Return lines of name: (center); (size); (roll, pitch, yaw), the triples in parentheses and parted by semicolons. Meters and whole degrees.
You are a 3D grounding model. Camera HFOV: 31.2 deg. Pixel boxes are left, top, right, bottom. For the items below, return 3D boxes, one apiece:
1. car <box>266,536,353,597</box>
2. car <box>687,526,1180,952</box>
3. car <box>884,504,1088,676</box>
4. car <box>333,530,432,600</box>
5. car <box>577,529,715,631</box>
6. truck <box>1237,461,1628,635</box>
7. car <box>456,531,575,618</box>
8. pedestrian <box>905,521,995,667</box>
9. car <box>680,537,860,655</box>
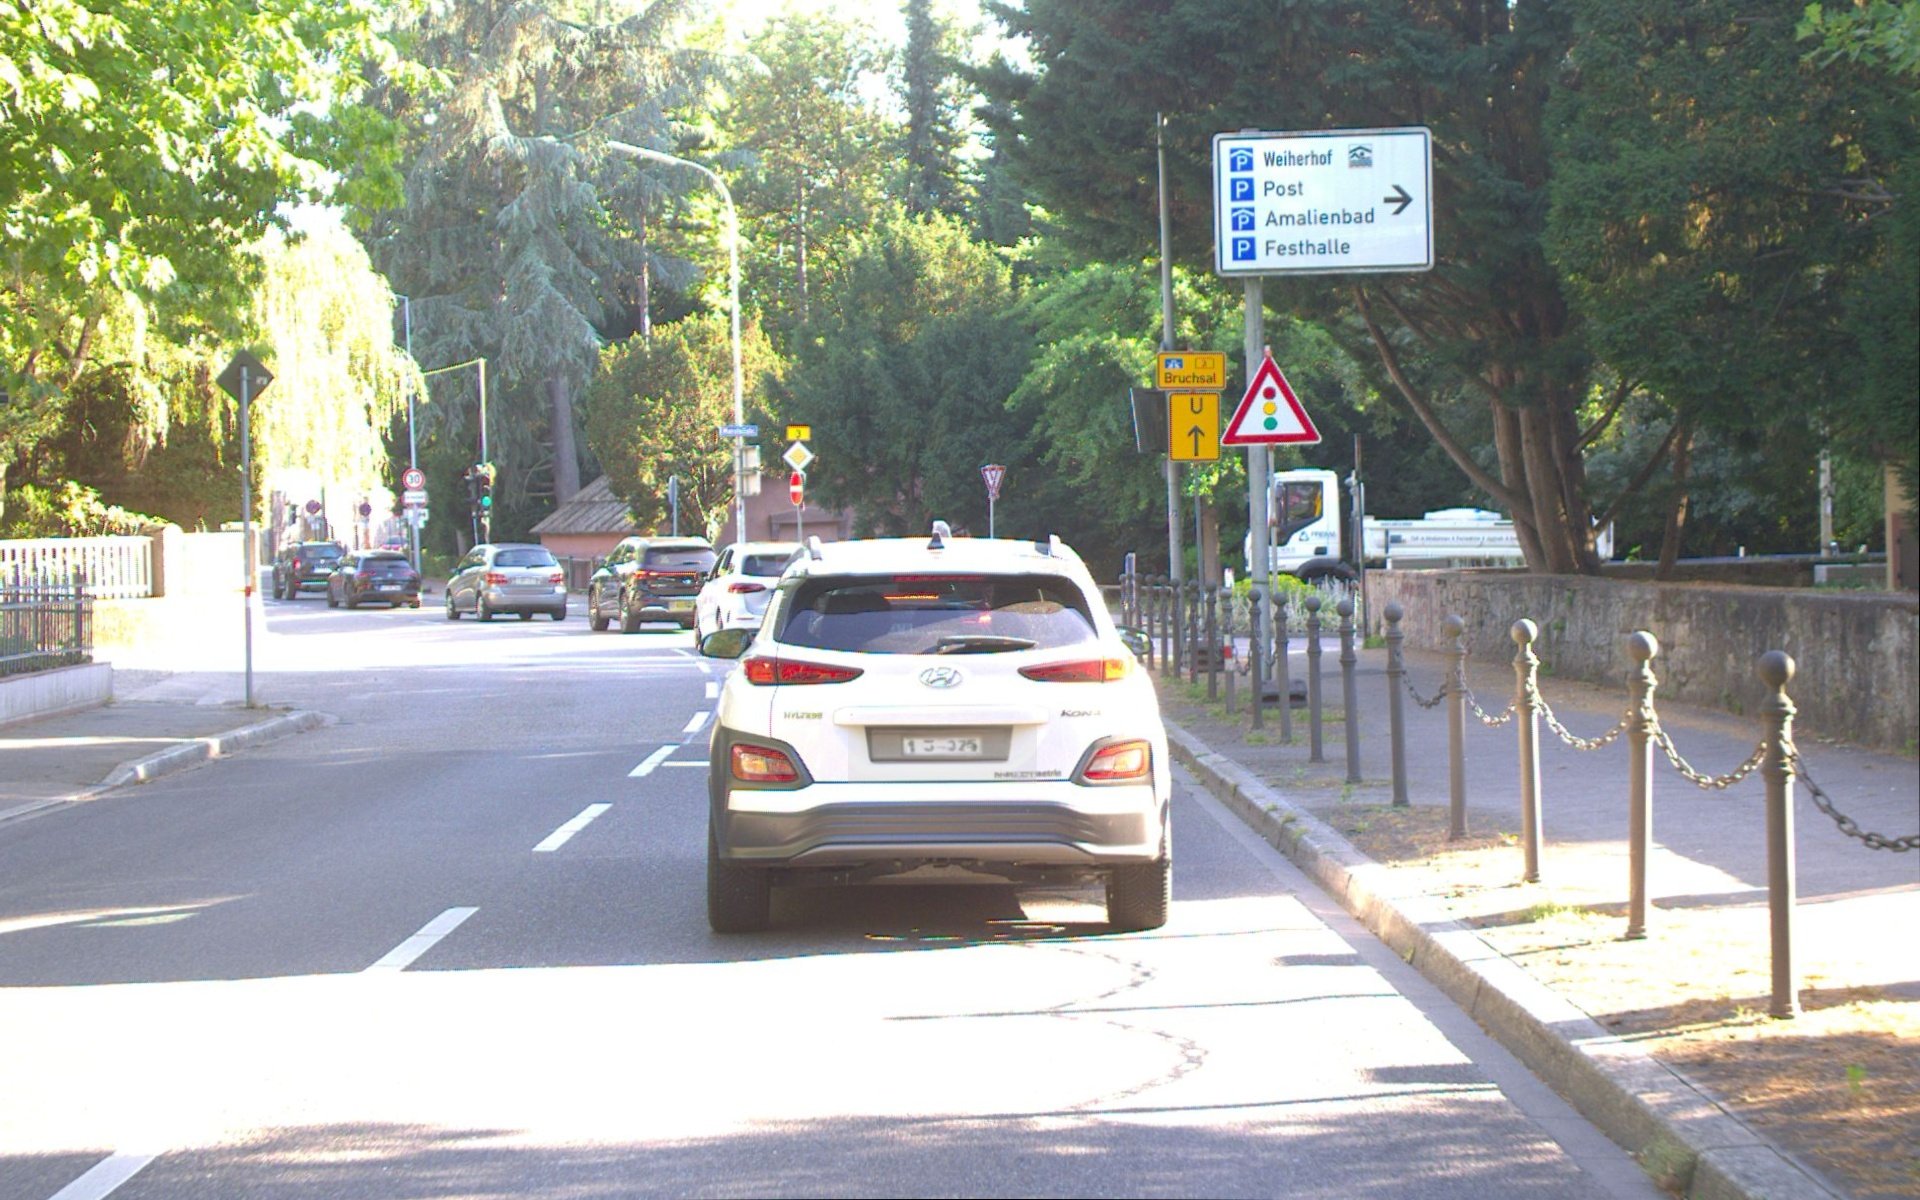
car: (-18.306, -0.949, 96.675); (1.831, 1.656, 4.001); (1, 1, -19)
car: (-0.137, 0.489, 14.844); (1.820, 1.568, 4.000); (1, 1, -1)
car: (0.188, -0.121, 31.216); (1.708, 1.429, 4.365); (1, 1, -1)
car: (-14.338, -0.879, 85.167); (1.831, 1.656, 4.001); (1, 1, -18)
car: (-5.341, -0.362, 58.082); (1.831, 1.656, 4.001); (1, 1, -12)
truck: (8.148, -0.913, 59.909); (6.588, 2.885, 2.433); (1, 1, 5)
car: (-9.220, -0.549, 71.065); (1.831, 1.735, 4.001); (1, 1, -16)
pedestrian: (-0.125, -0.080, 43.629); (0.940, 1.820, 0.554); (0, 3, -39)
car: (-2.681, -0.086, 47.681); (1.805, 1.532, 4.001); (1, 1, -13)
